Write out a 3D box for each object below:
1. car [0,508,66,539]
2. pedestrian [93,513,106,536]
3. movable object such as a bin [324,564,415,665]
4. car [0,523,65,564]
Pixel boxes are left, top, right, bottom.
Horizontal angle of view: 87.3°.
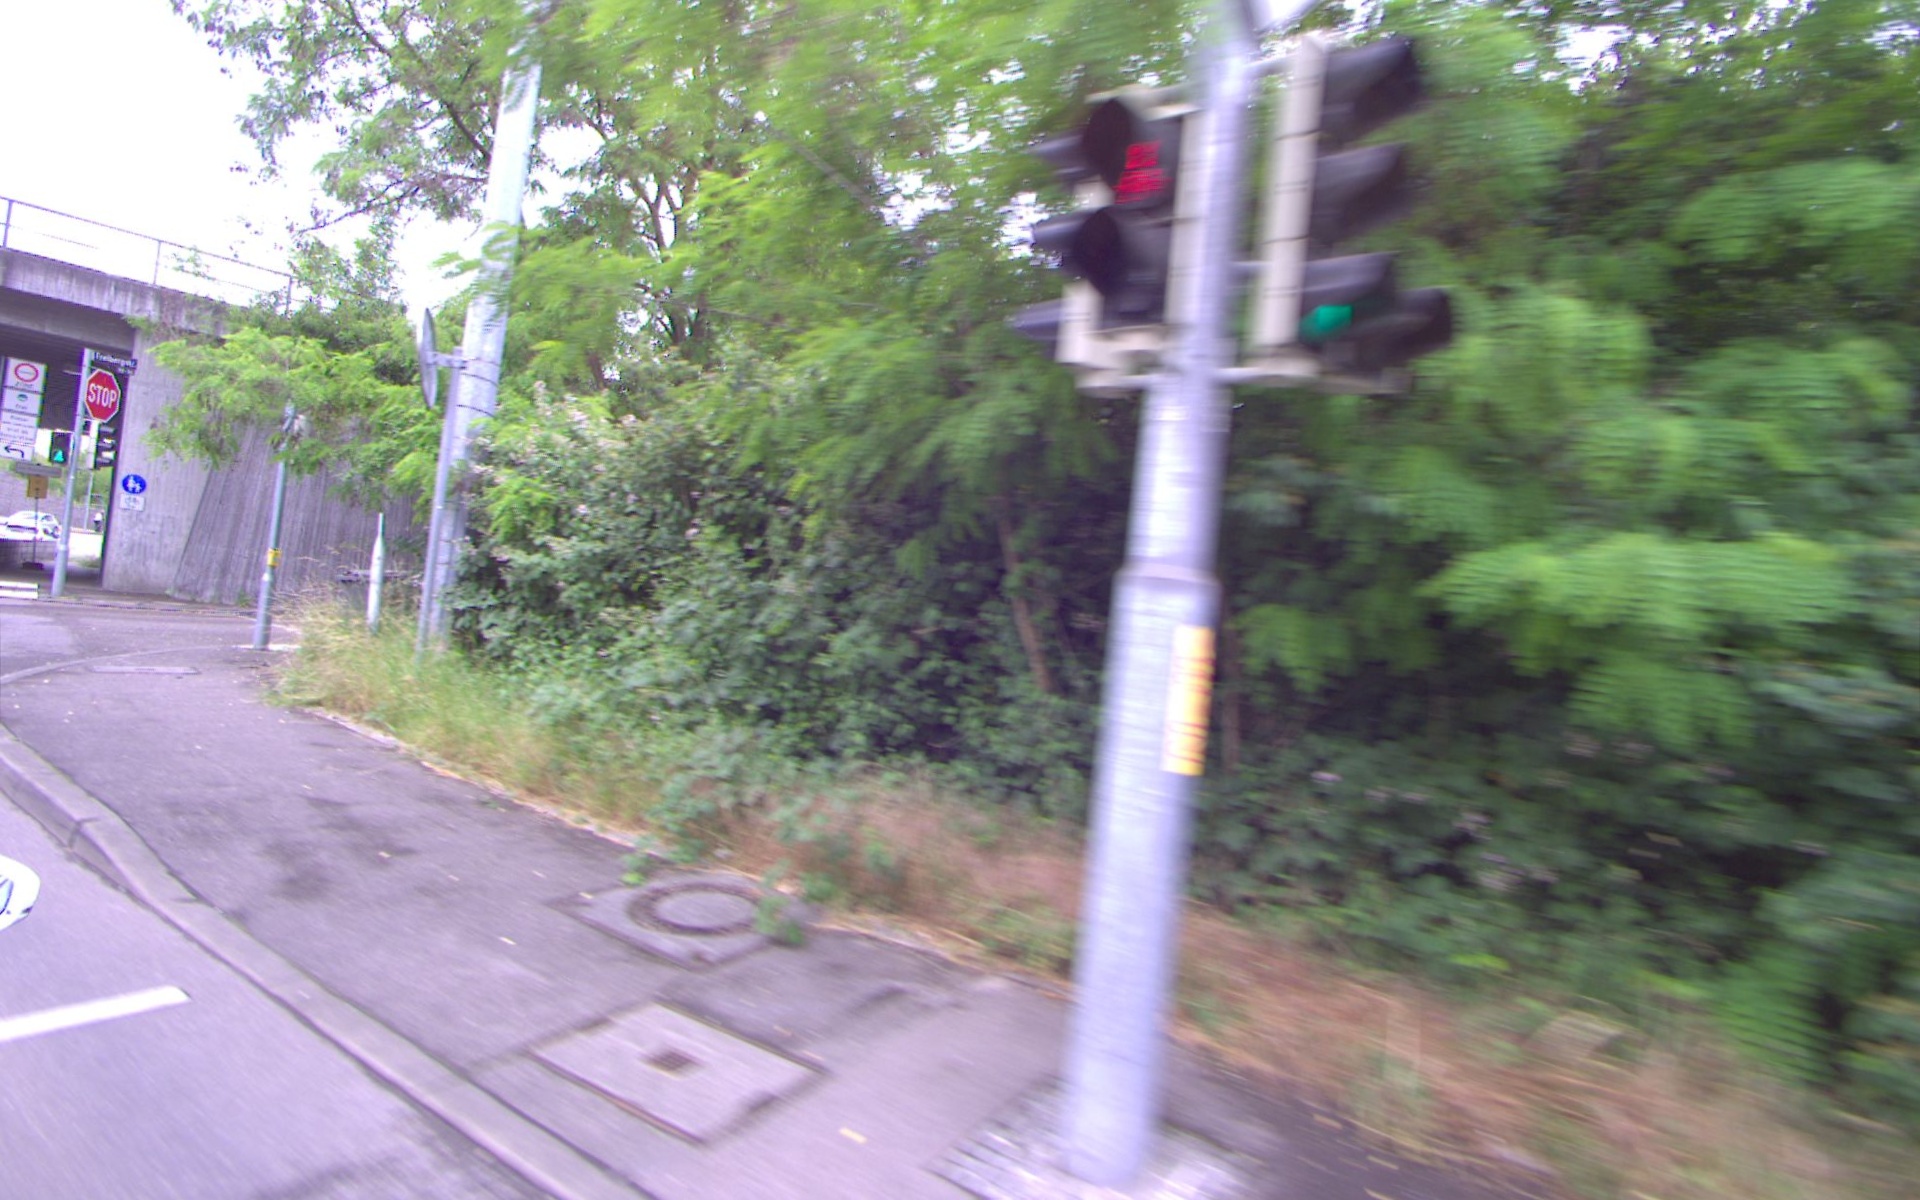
[{"bbox_3d":[-65.399,-5.359,71.029,1.974,1.659,3.981,8,-2,-22],"label":"car"},{"bbox_3d":[-73.124,-6.416,85.470,0.589,1.884,0.603,6,-1,44],"label":"pedestrian"},{"bbox_3d":[-7.177,0.188,12.252,0.632,1.128,0.576,7,-1,1],"label":"movable object such as a bin"},{"bbox_3d":[-43.231,-2.613,46.516,1.981,1.636,3.967,8,-2,-33],"label":"car"}]
